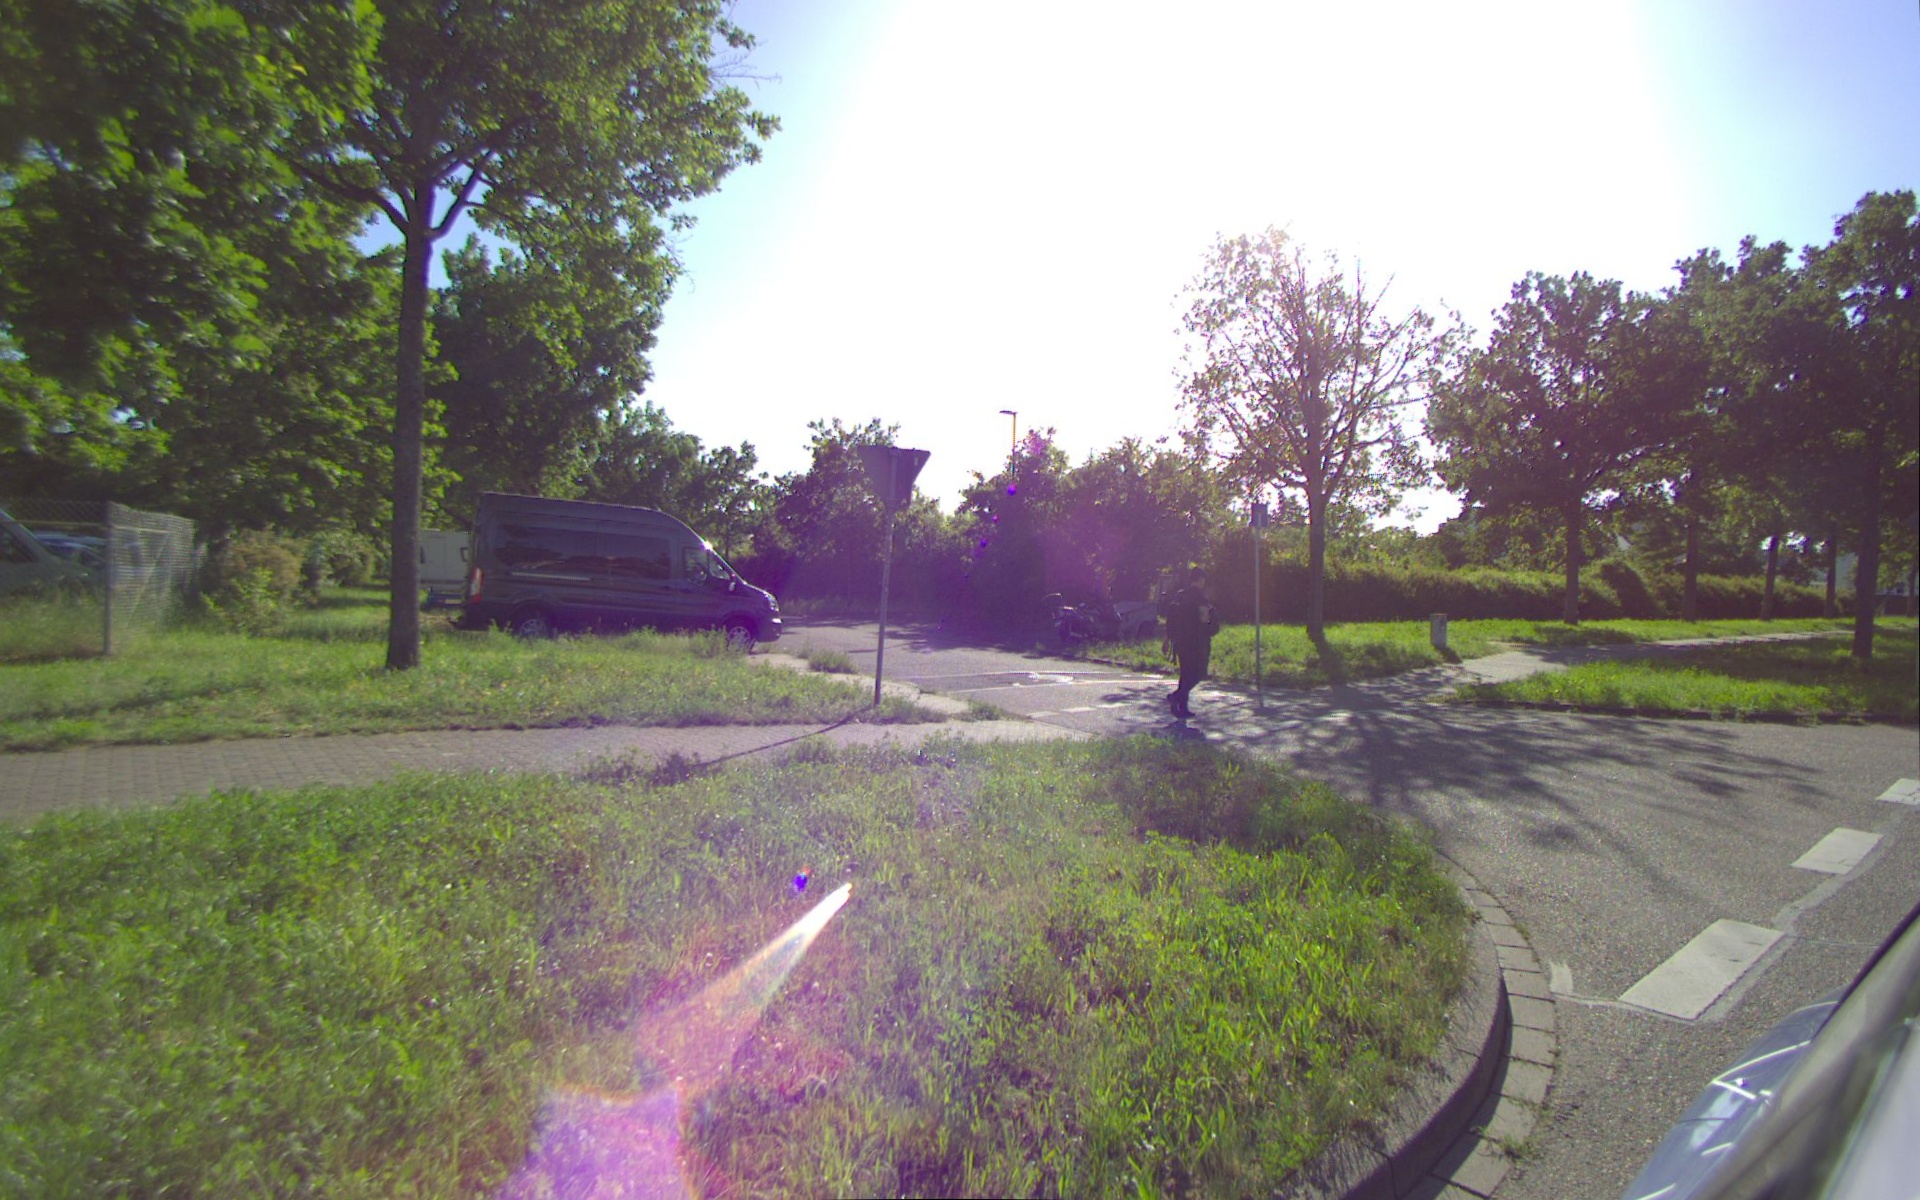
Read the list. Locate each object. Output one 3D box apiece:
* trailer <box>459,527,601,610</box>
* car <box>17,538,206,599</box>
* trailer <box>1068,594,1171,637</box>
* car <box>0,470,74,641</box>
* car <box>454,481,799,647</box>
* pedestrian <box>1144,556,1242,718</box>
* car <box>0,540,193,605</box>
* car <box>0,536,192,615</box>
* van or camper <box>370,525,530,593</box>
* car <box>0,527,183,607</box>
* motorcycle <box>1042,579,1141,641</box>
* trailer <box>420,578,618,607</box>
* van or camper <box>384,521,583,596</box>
[{"bbox_3d":[-12.930,-0.930,30.403,3.712,2.336,2.199,1,2,-29],"label":"trailer"},{"bbox_3d":[-24.192,-0.892,29.062,3.922,1.612,2.001,1,2,-33],"label":"car"},{"bbox_3d":[4.032,0.375,25.673,2.013,0.878,1.586,-4,4,-28],"label":"trailer"},{"bbox_3d":[-16.962,-0.746,15.714,4.765,2.676,2.165,0,2,-41],"label":"car"},{"bbox_3d":[-6.263,-0.549,19.290,5.850,2.599,2.094,4,-2,-29],"label":"car"},{"bbox_3d":[2.764,0.404,12.010,0.852,1.835,0.727,0,2,-41],"label":"pedestrian"},{"bbox_3d":[-23.037,-0.715,27.008,3.922,1.612,2.001,1,2,-33],"label":"car"},{"bbox_3d":[-19.989,-0.555,22.775,3.915,1.660,1.845,1,2,-20],"label":"car"},{"bbox_3d":[-21.240,-1.674,42.297,5.799,2.606,2.191,1,2,-29],"label":"van or camper"},{"bbox_3d":[-21.836,-0.812,25.071,3.922,1.845,2.001,1,2,-33],"label":"car"},{"bbox_3d":[3.108,0.211,23.794,2.359,1.246,0.666,-4,4,-29],"label":"motorcycle"},{"bbox_3d":[-11.848,-0.205,27.235,4.724,0.659,2.239,0,2,-29],"label":"trailer"},{"bbox_3d":[-17.999,-1.523,38.401,6.640,2.606,2.191,1,2,-29],"label":"van or camper"}]
